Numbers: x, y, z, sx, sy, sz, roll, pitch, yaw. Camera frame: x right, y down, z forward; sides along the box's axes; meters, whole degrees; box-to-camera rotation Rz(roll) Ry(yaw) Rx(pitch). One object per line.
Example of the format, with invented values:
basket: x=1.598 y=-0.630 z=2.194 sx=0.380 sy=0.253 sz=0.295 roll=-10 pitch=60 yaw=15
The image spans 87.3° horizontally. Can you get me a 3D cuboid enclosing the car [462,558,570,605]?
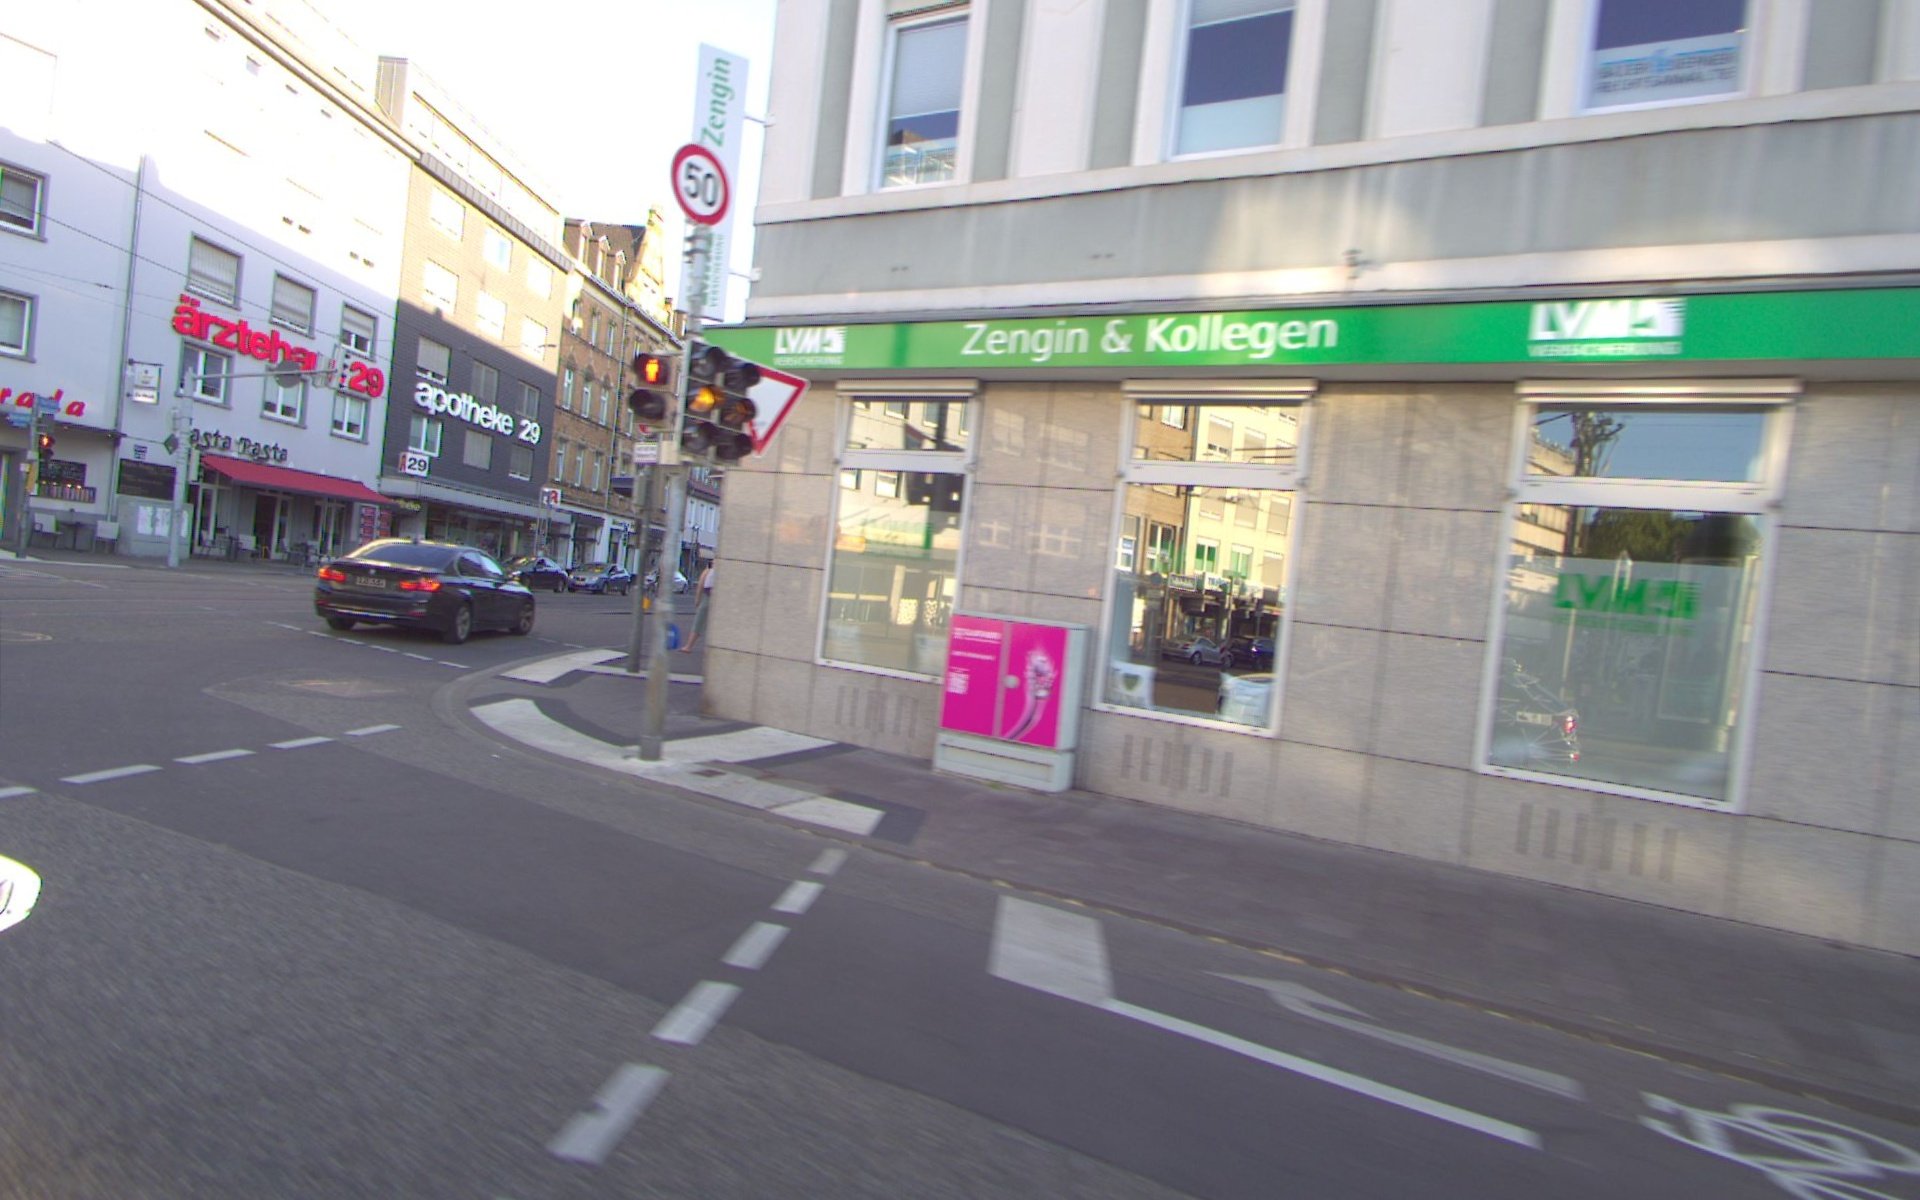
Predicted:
car: x=-16.893 y=-0.675 z=38.542 sx=1.962 sy=1.543 sz=4.400 roll=3 pitch=-1 yaw=3

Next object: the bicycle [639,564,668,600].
bicycle: x=-15.134 y=-0.856 z=49.763 sx=0.848 sy=1.652 sz=3.049 roll=6 pitch=-1 yaw=-9

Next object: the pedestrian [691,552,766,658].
pedestrian: x=-4.263 y=0.109 z=18.558 sx=0.889 sy=1.834 sz=0.780 roll=6 pitch=-1 yaw=16

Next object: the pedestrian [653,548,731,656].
pedestrian: x=-4.758 y=0.052 z=17.891 sx=0.889 sy=1.793 sz=0.780 roll=6 pitch=-1 yaw=16

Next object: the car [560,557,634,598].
car: x=-16.242 y=-0.966 z=45.189 sx=1.736 sy=1.436 sz=3.683 roll=6 pitch=-2 yaw=3

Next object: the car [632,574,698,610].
car: x=-18.169 y=-0.473 z=62.167 sx=1.954 sy=1.725 sz=4.988 roll=6 pitch=-2 yaw=7

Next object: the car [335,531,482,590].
car: x=-17.316 y=-1.190 z=31.874 sx=1.944 sy=1.488 sz=4.480 roll=5 pitch=0 yaw=3

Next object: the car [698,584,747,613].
car: x=-17.650 y=-0.104 z=75.000 sx=1.954 sy=1.725 sz=4.988 roll=6 pitch=-2 yaw=4

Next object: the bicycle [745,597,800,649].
bicycle: x=-4.744 y=0.608 z=25.569 sx=0.683 sy=1.198 sz=1.875 roll=6 pitch=-2 yaw=9

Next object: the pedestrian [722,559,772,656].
pedestrian: x=-4.172 y=0.156 z=19.711 sx=0.753 sy=1.793 sz=0.685 roll=6 pitch=-1 yaw=-13

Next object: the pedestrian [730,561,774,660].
pedestrian: x=-3.959 y=0.202 z=19.159 sx=0.619 sy=1.793 sz=0.682 roll=6 pitch=-1 yaw=-13

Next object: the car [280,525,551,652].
car: x=-8.059 y=-0.171 z=15.456 sx=1.965 sy=1.437 sz=4.504 roll=7 pitch=0 yaw=-6

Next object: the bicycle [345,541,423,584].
bicycle: x=-20.540 y=-1.328 z=35.910 sx=2.253 sy=1.207 sz=0.656 roll=7 pitch=-1 yaw=-1
